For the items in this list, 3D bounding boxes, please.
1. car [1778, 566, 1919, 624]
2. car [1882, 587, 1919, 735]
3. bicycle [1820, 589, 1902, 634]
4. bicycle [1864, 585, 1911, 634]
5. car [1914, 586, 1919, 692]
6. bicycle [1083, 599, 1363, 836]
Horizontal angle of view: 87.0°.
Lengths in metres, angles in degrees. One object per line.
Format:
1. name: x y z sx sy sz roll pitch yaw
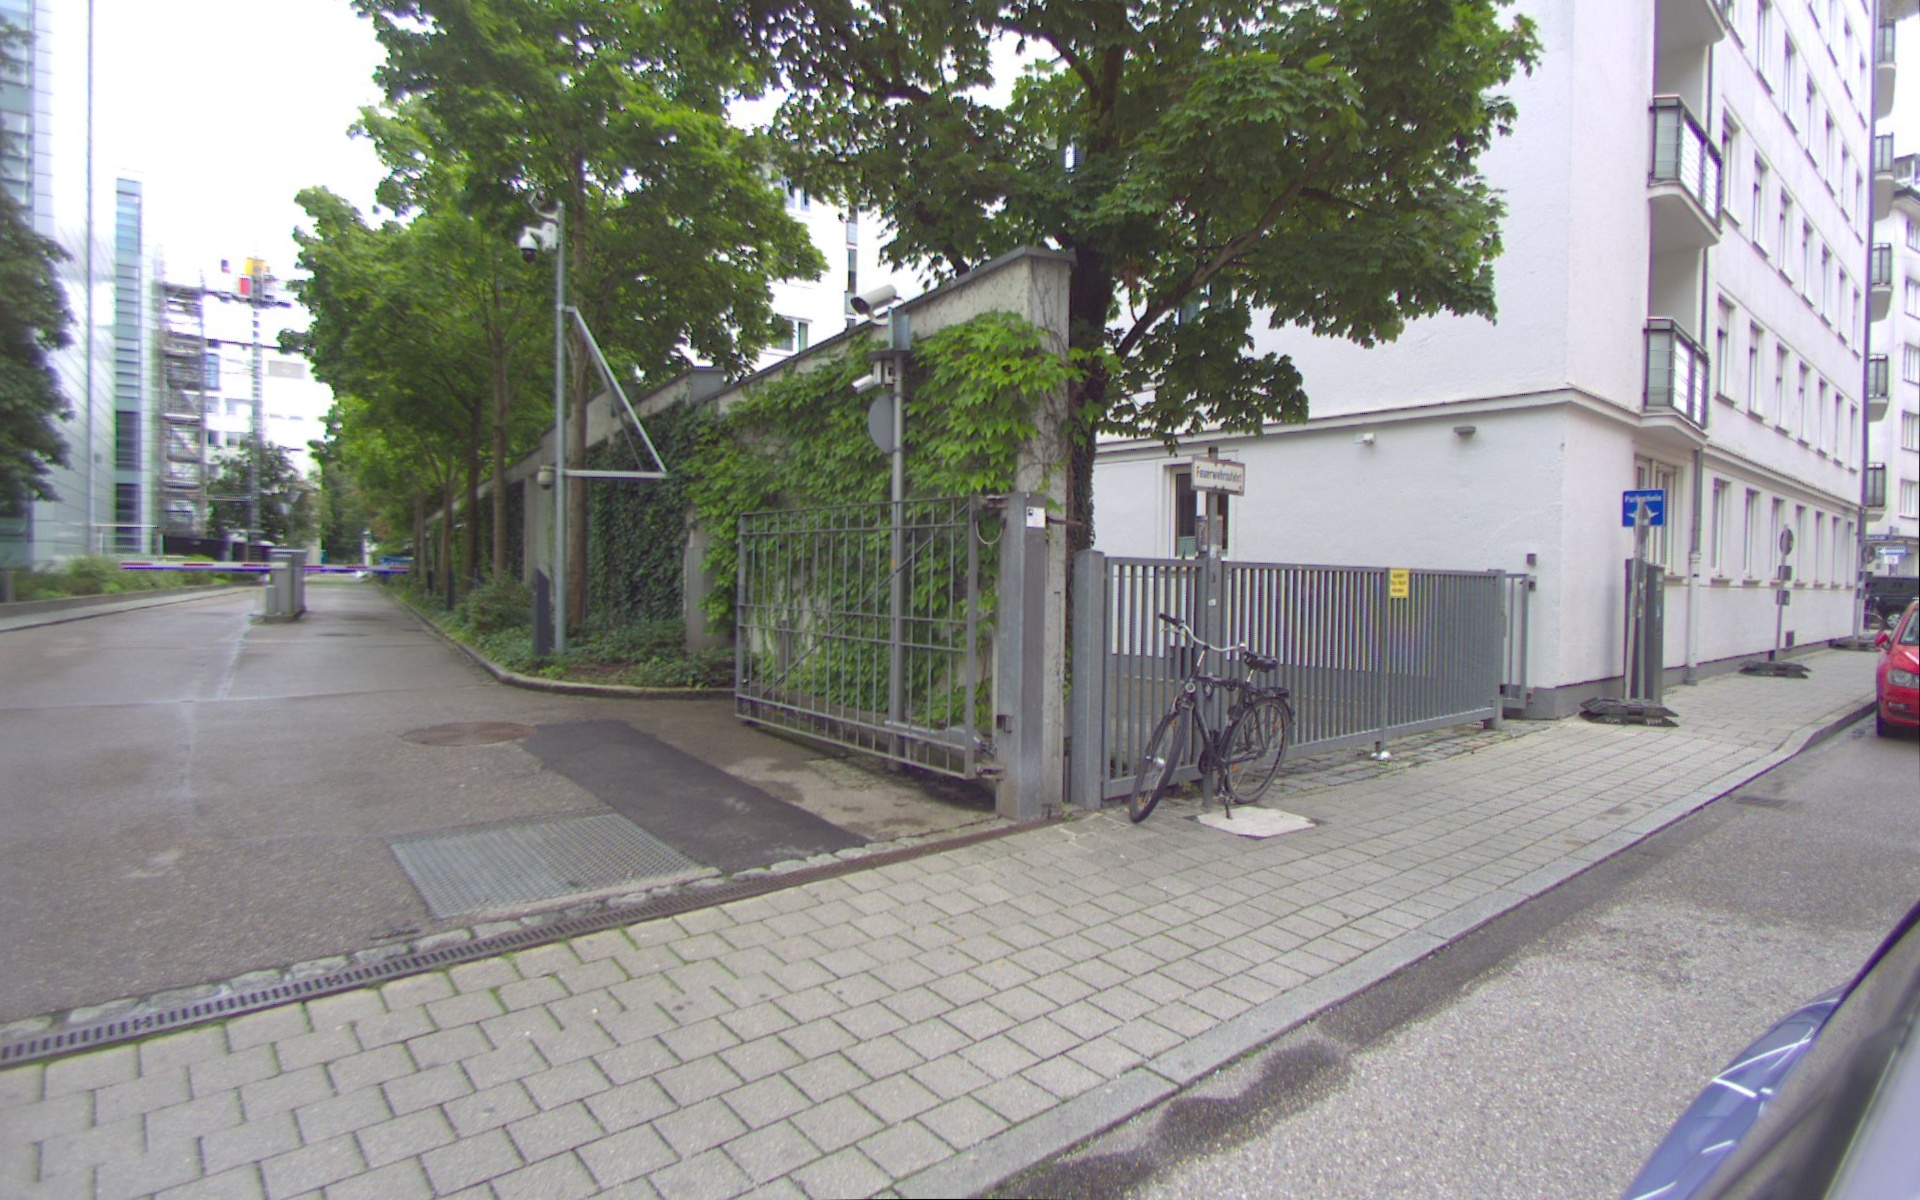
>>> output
1. car: 32.368 -0.211 35.992 1.896 1.914 4.687 1 2 -33
2. car: 11.431 0.588 11.227 1.760 1.465 4.232 0 0 43
3. bicycle: 23.439 0.284 26.344 1.490 1.056 0.395 4 4 31
4. bicycle: 25.005 0.244 27.307 0.395 1.219 1.494 3 3 24
5. car: 15.349 0.522 14.631 4.306 1.457 1.798 -1 0 -40
6. bicycle: 1.644 0.653 6.158 1.801 1.213 0.709 3 -1 -41
